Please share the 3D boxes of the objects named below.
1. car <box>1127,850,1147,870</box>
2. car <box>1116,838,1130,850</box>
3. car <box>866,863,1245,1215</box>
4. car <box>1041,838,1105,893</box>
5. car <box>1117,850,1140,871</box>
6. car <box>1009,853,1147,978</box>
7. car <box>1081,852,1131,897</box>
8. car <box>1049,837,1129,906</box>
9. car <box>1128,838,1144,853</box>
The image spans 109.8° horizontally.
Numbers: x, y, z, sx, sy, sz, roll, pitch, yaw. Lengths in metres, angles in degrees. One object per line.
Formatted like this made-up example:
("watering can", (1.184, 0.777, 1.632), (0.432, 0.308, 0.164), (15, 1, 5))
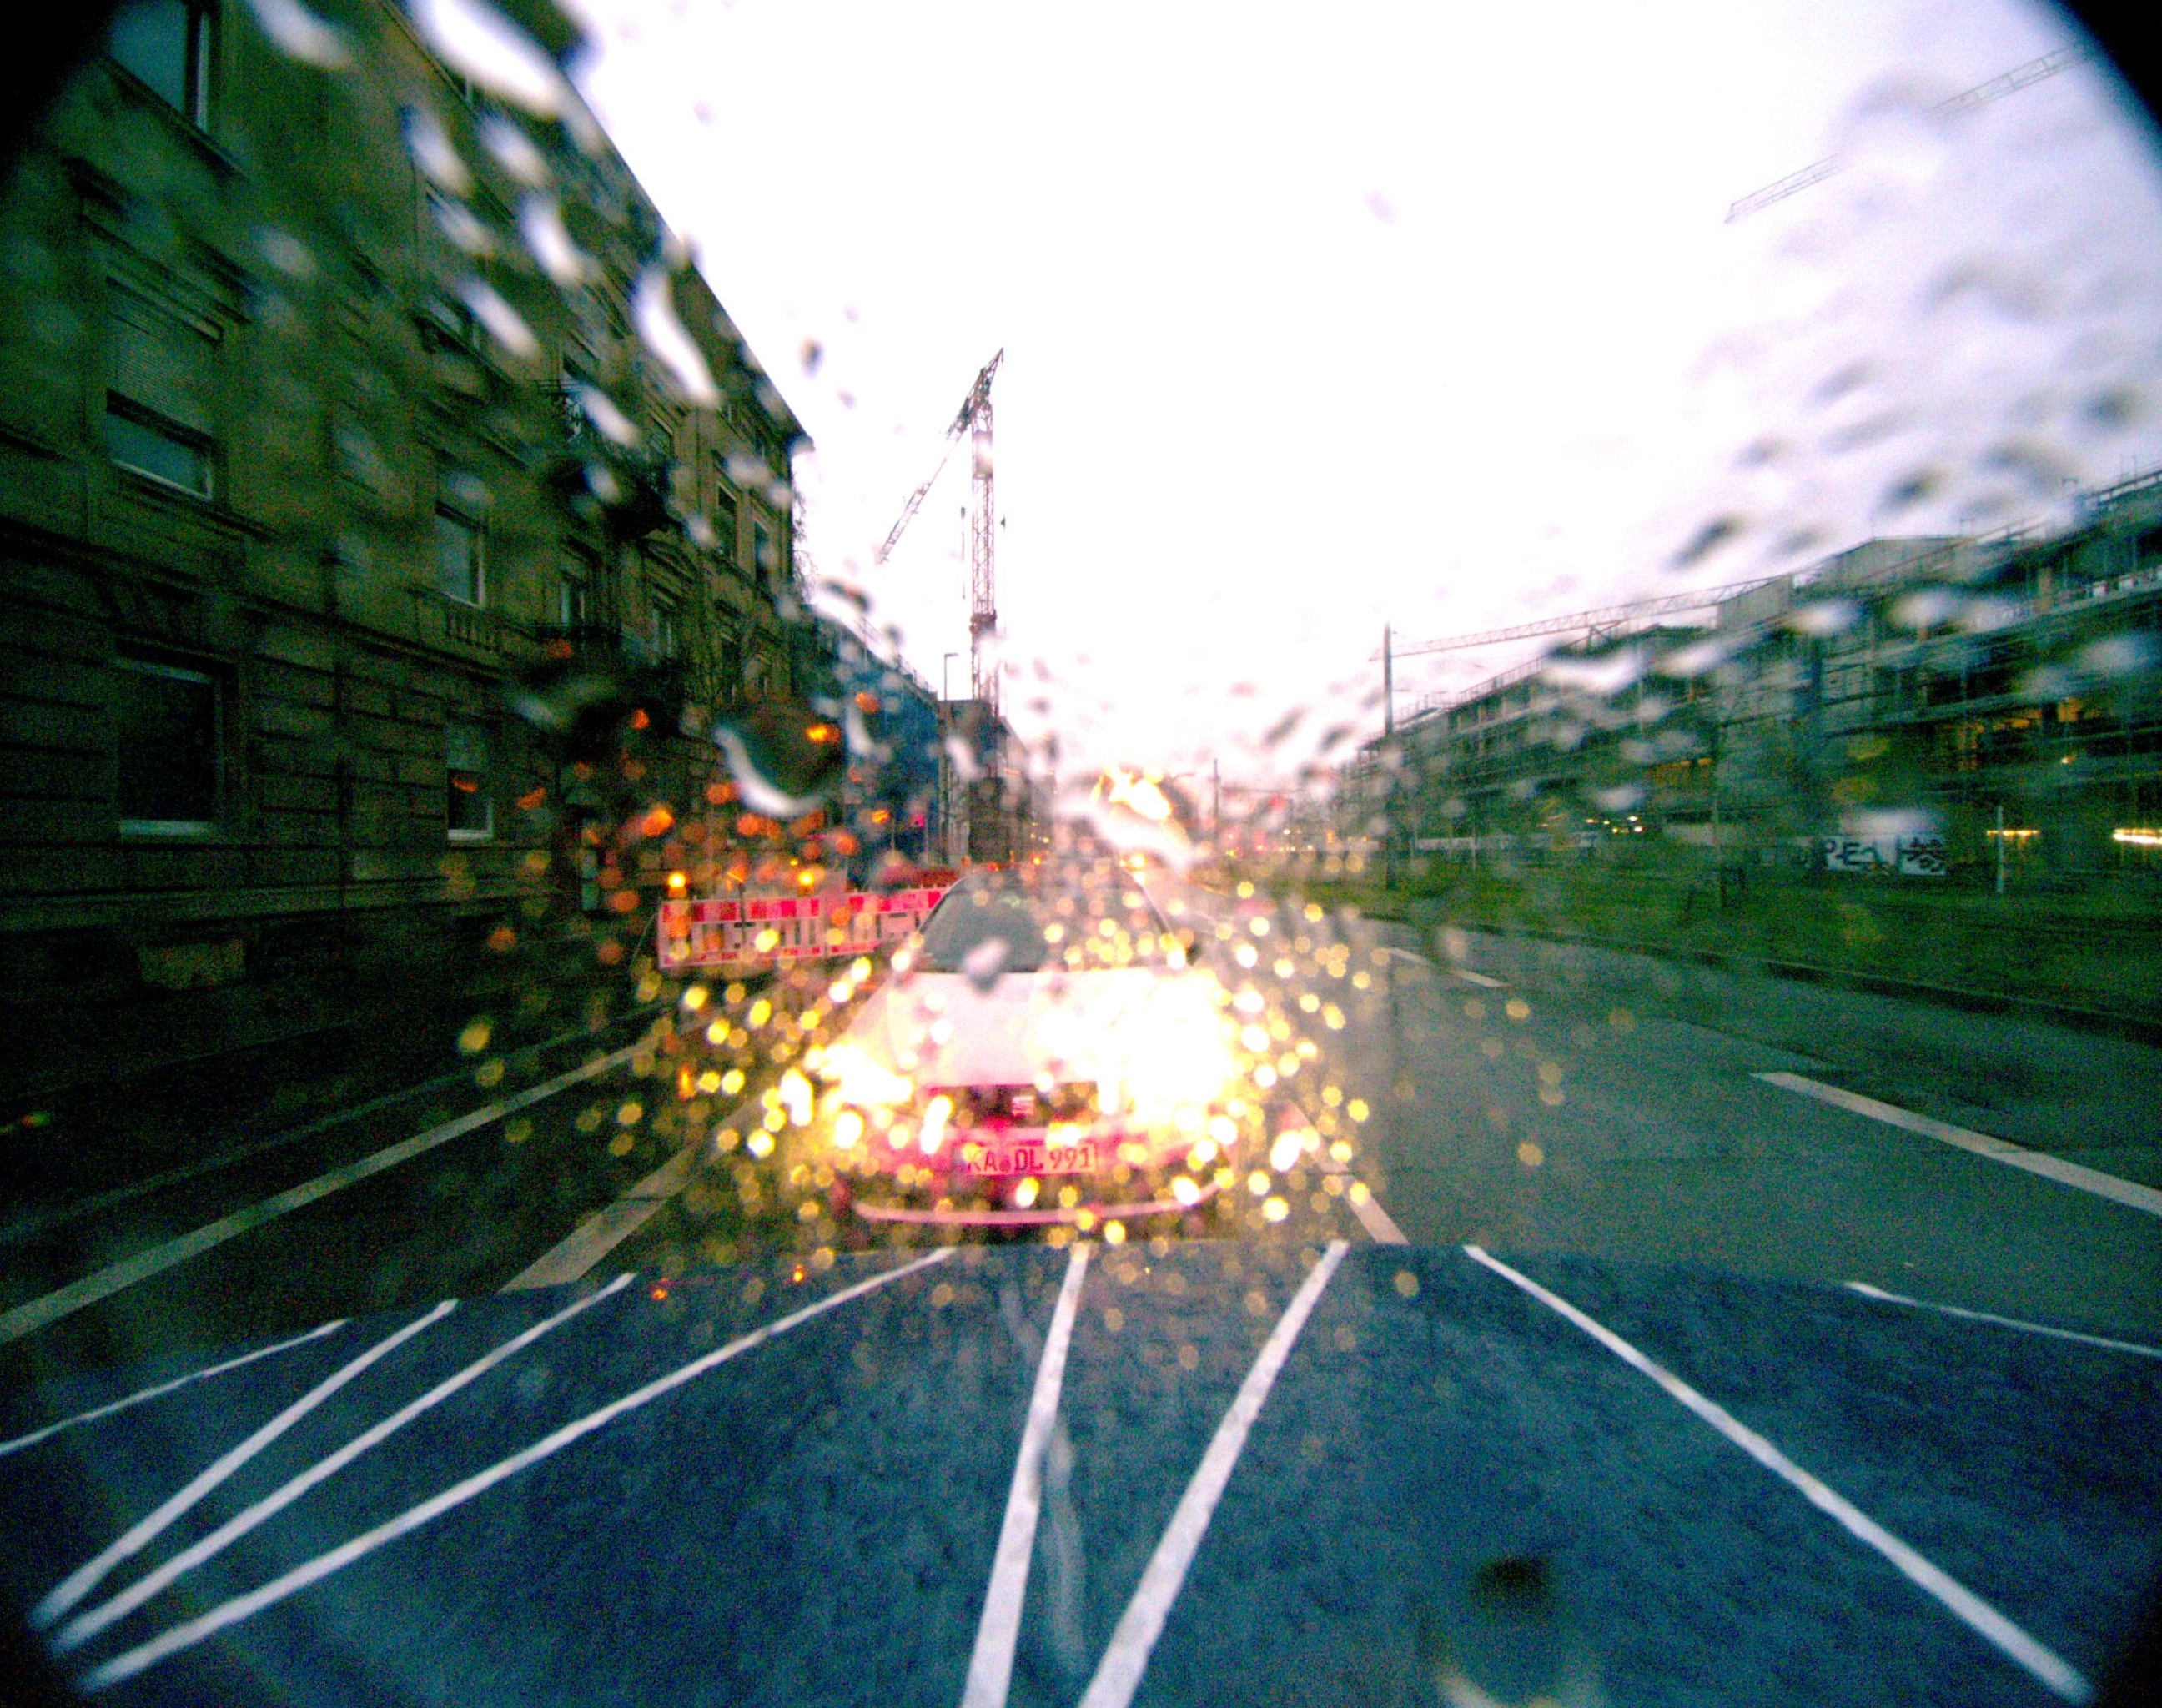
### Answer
("car", (5.134, 0.511, 69.756), (1.768, 1.614, 3.900), (-3, 1, 4))
("car", (5.916, -1.404, 107.051), (1.768, 1.614, 3.900), (-3, 1, 4))
("car", (-0.124, 0.927, 5.637), (1.769, 1.504, 3.899), (-3, 1, 0))
("car", (-0.247, 0.291, 23.812), (1.769, 1.504, 3.899), (-3, 1, 0))
("car", (3.874, 0.540, 61.934), (1.768, 1.504, 3.900), (-3, 1, 3))
("car", (-0.049, 0.816, 12.029), (1.769, 1.504, 3.899), (-3, 1, 0))
("car", (0.907, 0.733, 29.759), (1.769, 1.504, 3.899), (-3, 1, 0))
("car", (0.179, 0.368, 19.327), (1.769, 1.504, 3.899), (-3, 1, 0))
("car", (6.313, -1.012, 87.359), (1.768, 1.614, 3.900), (-3, 1, 4))
